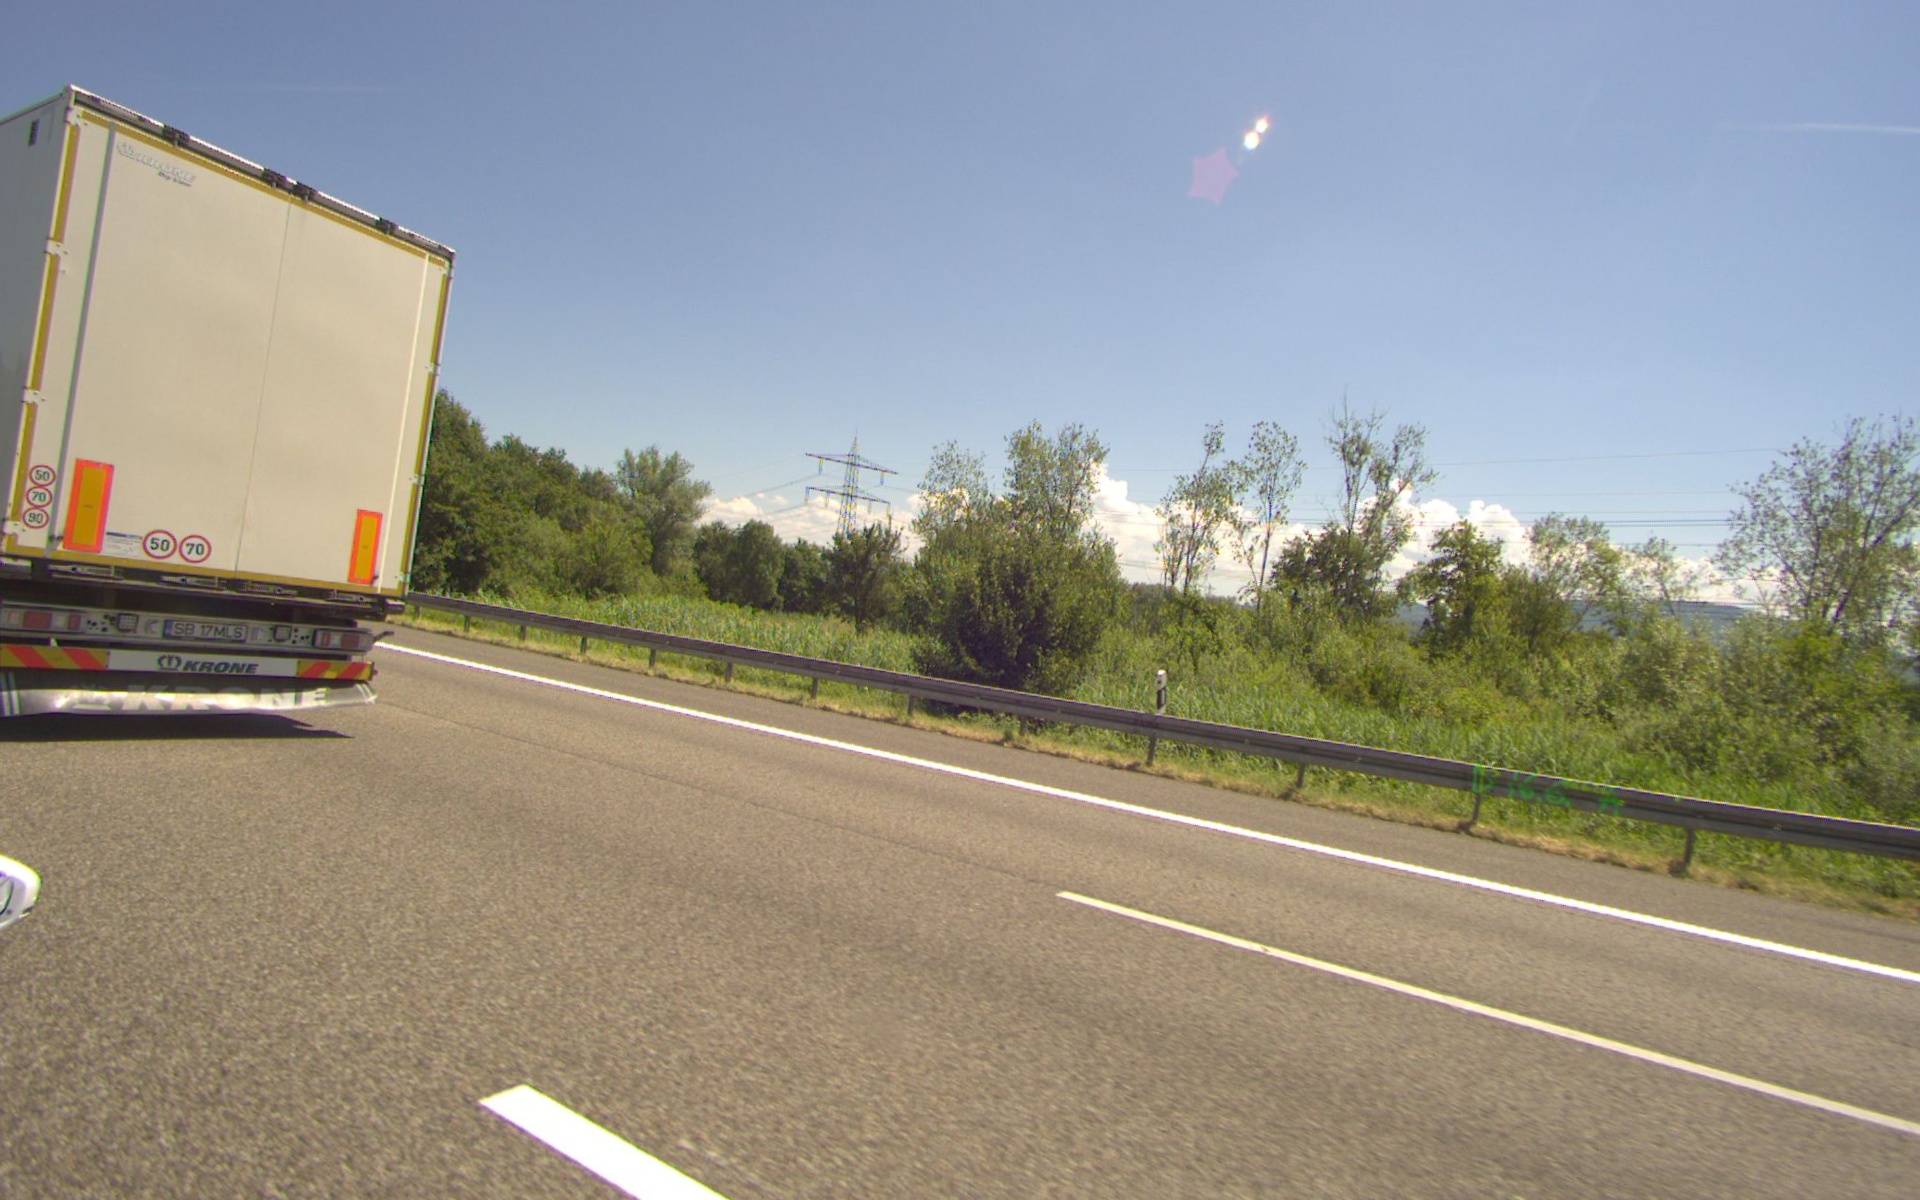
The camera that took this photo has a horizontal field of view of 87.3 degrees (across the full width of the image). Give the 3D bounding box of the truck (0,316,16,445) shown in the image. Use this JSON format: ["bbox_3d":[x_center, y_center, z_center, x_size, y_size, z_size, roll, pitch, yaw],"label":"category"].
[{"bbox_3d":[-16.706,-2.327,14.441,5.920,4.054,2.805,6,-1,31],"label":"truck"}]

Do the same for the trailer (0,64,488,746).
[{"bbox_3d":[-10.127,-1.608,10.390,12.358,4.083,2.800,6,-1,31],"label":"trailer"}]
